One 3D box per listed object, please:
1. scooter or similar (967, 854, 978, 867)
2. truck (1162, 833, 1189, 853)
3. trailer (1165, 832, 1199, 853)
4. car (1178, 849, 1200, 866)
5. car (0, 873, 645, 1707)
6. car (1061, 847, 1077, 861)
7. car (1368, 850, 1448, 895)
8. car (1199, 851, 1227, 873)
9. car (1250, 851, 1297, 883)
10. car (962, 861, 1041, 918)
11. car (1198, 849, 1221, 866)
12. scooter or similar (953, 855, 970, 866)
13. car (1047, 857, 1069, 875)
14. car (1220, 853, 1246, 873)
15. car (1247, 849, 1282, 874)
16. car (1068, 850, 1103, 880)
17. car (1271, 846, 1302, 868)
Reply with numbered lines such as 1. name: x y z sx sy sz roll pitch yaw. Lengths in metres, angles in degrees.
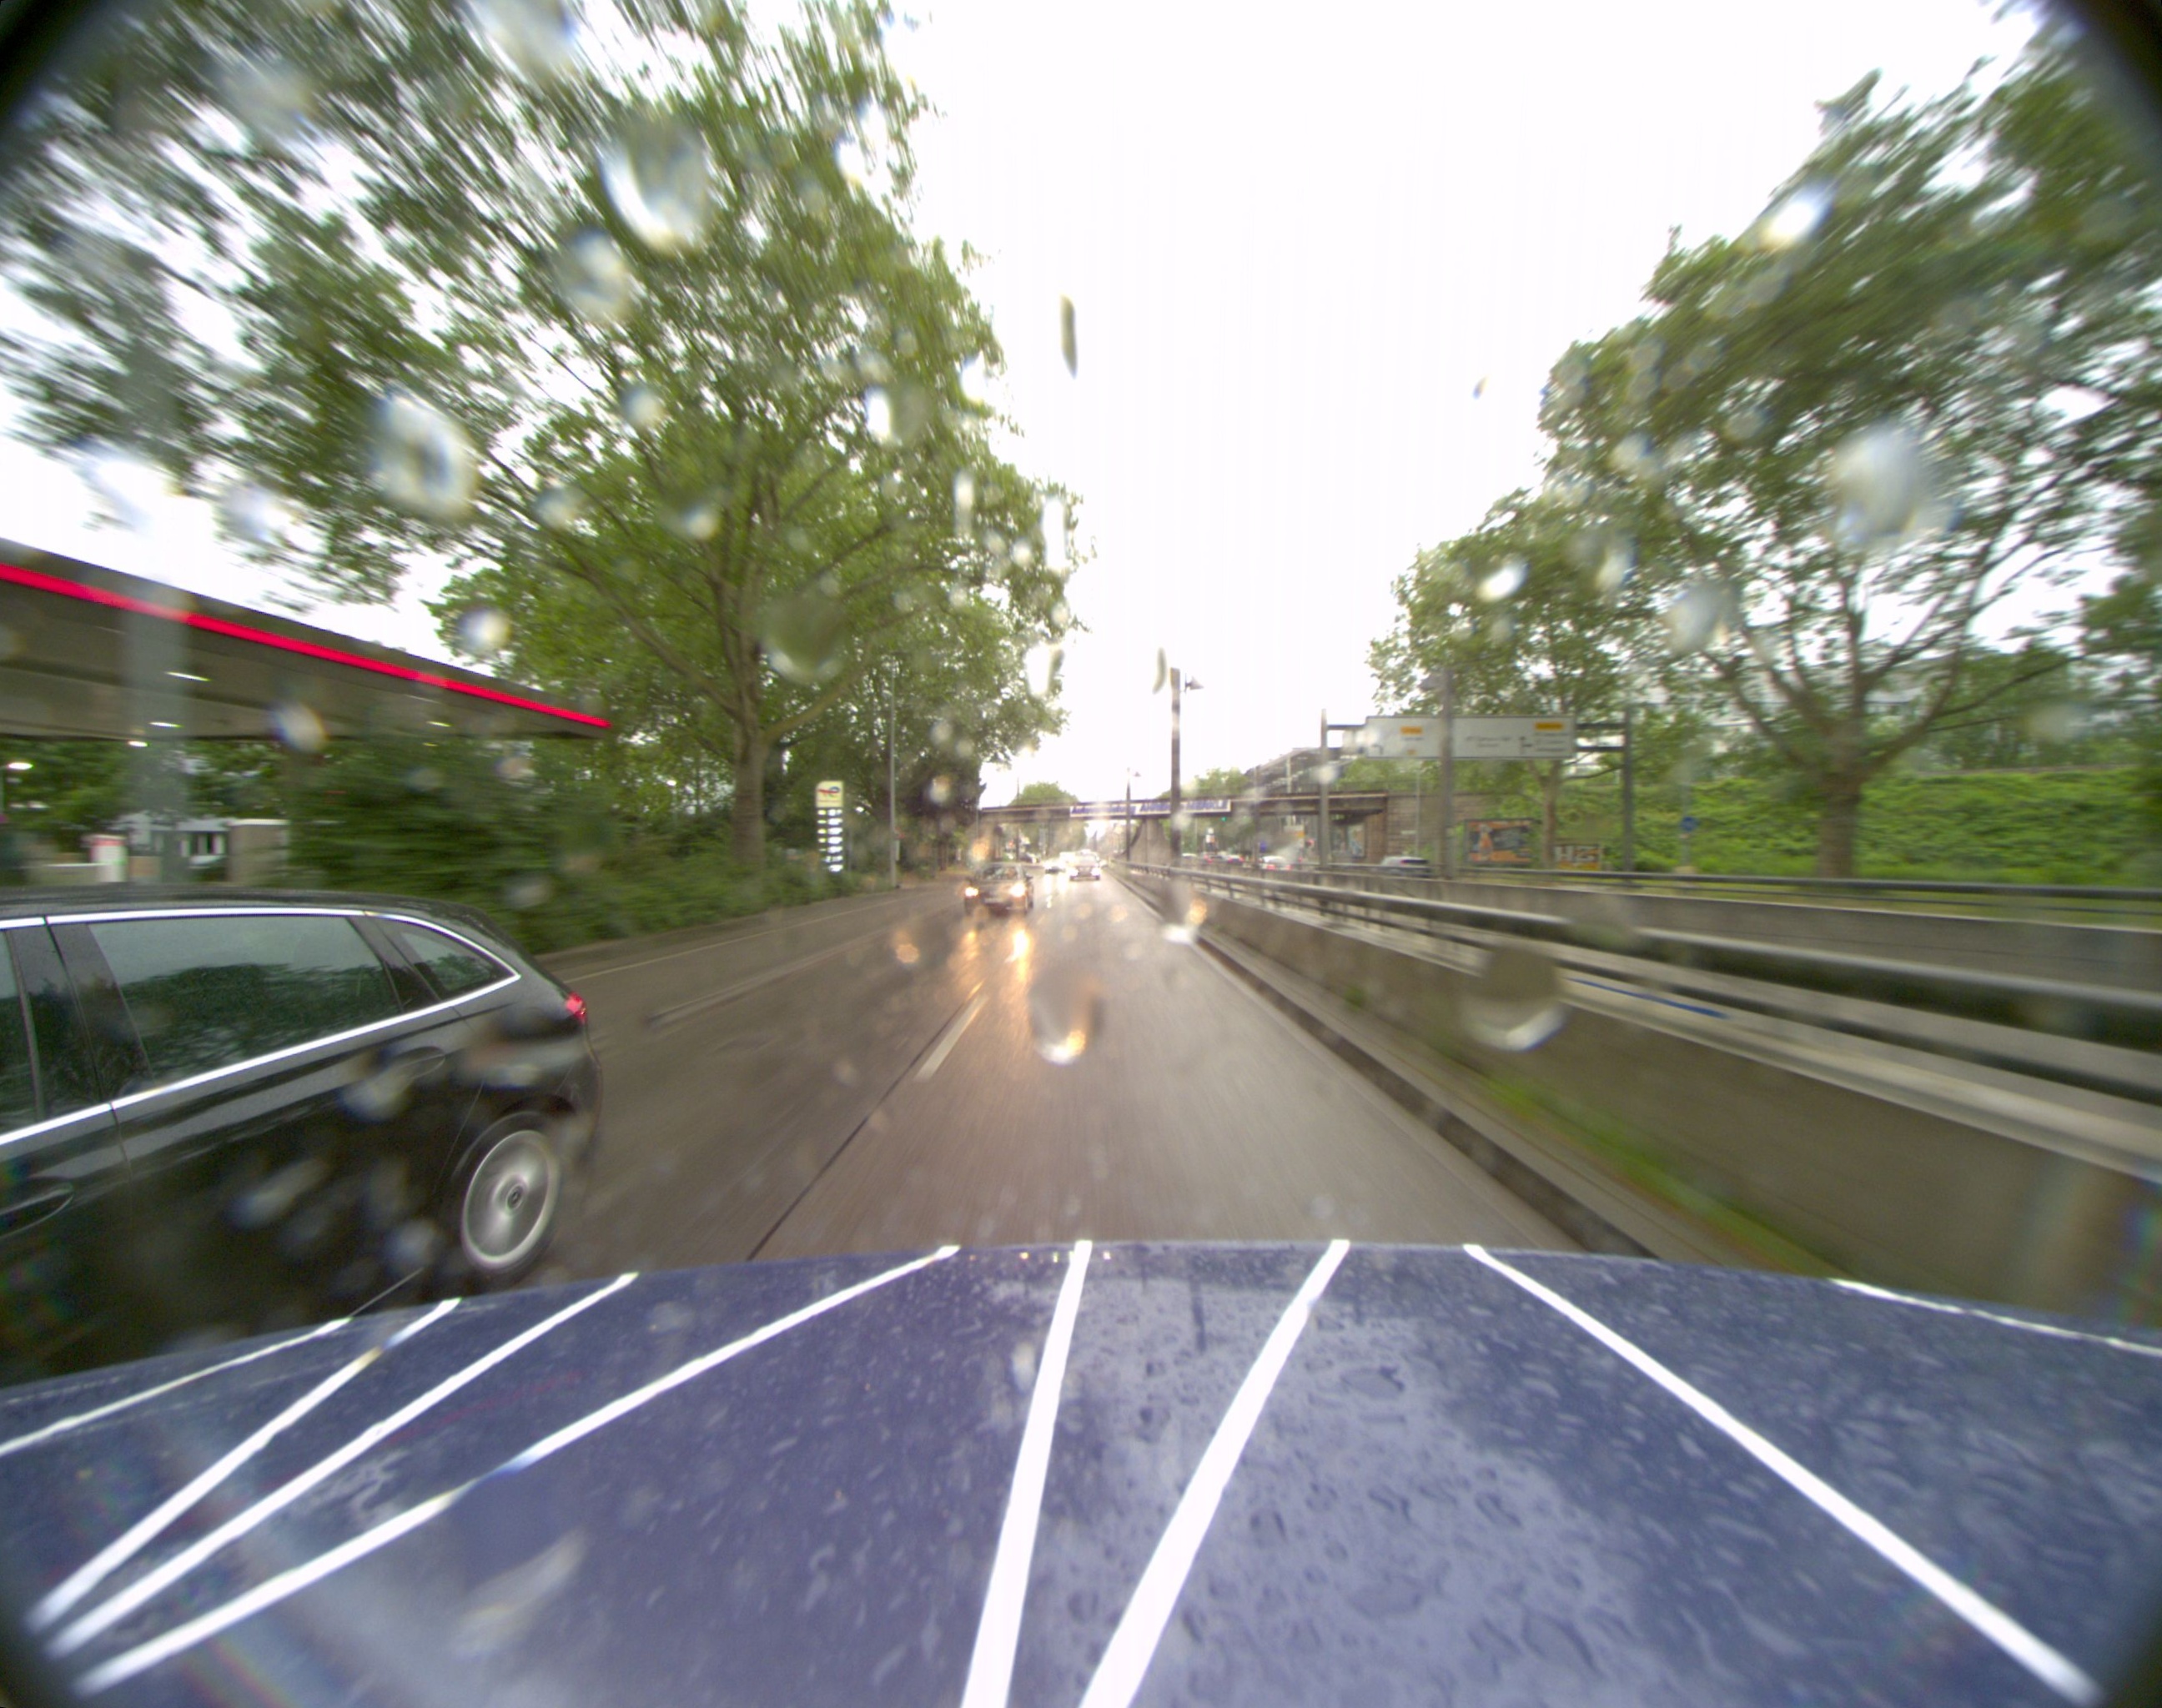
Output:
1. scooter or similar: -10.409 0.619 72.985 0.453 1.152 1.828 -2 1 8
2. truck: 16.509 -1.835 133.286 3.384 3.290 6.521 -2 1 -4
3. trailer: 16.870 -1.807 127.442 3.331 3.241 11.117 -2 0 -4
4. car: 13.003 0.418 91.550 1.998 2.002 3.999 -2 1 0
5. car: -2.973 0.922 1.282 1.821 1.521 4.420 -1 2 1
6. car: -1.517 0.028 97.325 1.869 1.689 4.425 -1 0 0
7. car: 16.011 0.843 37.457 1.998 2.002 4.510 -2 1 0
8. car: 12.877 0.745 74.445 1.998 2.002 3.999 -2 1 0
9. car: 12.936 0.845 51.321 1.998 2.002 4.615 -2 1 0
10. car: -2.191 0.955 21.836 1.641 1.377 3.782 -2 1 3
11. car: 16.037 0.417 94.944 1.998 1.918 4.366 -2 1 0
12. scooter or similar: -11.178 0.619 71.087 0.452 1.004 1.742 -1 1 38
13. car: -2.007 1.008 67.267 1.821 1.520 4.159 -1 0 1
14. car: 16.536 0.990 82.860 1.998 2.002 4.510 -2 1 0
15. car: 15.934 0.636 66.178 1.998 2.002 3.999 -2 1 0
16. car: 0.315 0.707 48.562 1.974 1.794 4.159 -1 0 3
17. car: 20.632 0.273 76.457 1.998 2.002 4.196 -2 1 0
